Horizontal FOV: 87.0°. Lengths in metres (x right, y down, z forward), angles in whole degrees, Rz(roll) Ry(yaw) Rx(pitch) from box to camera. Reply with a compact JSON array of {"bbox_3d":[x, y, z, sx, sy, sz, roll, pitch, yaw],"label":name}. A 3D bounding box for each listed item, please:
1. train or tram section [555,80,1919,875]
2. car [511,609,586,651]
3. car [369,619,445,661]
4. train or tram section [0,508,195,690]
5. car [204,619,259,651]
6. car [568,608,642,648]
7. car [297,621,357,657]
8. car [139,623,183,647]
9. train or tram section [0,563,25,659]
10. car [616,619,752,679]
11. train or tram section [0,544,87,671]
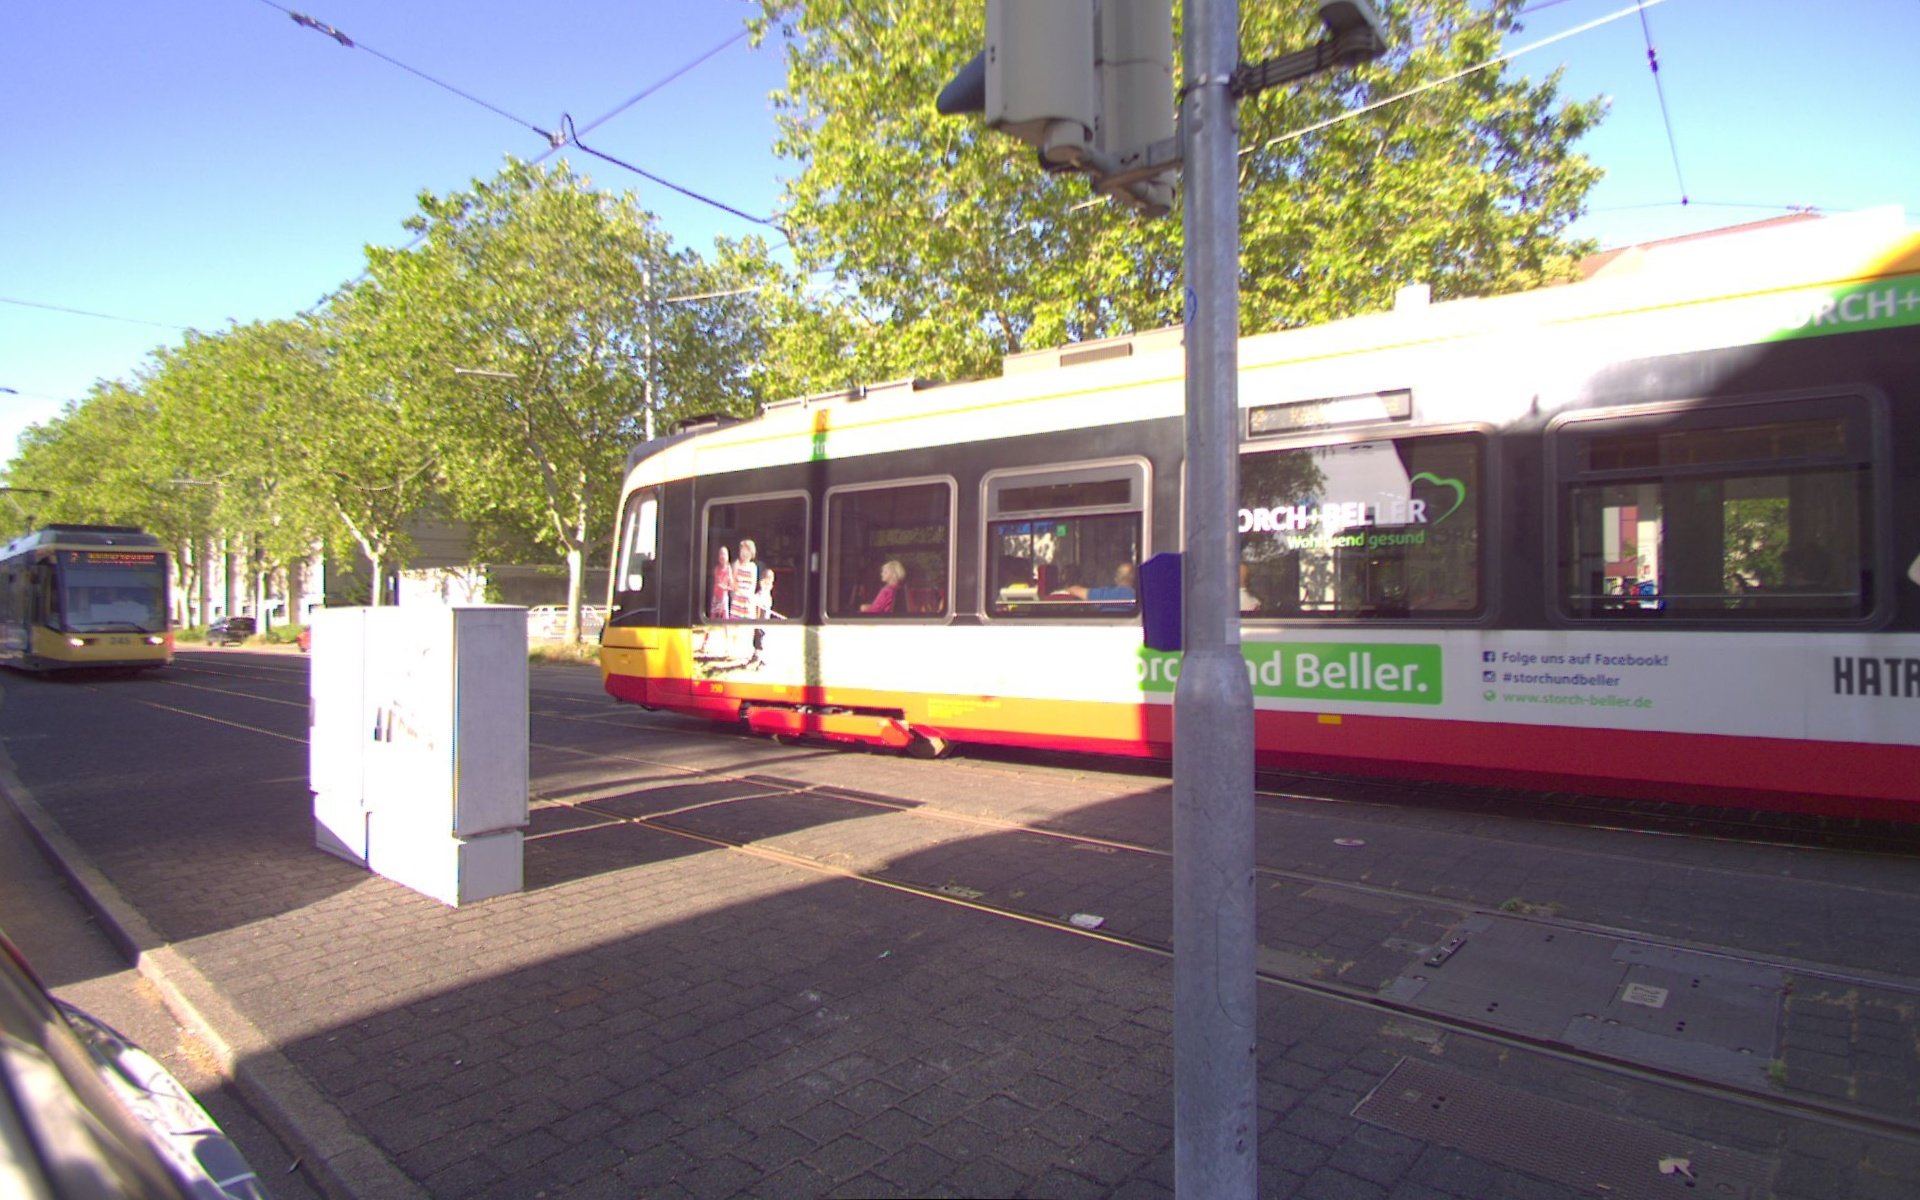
[{"bbox_3d":[1.461,-0.508,8.985,13.026,3.843,2.906,-1,-1,36],"label":"train or tram section"},{"bbox_3d":[-17.080,1.217,41.966,3.303,1.628,1.579,-1,0,41],"label":"car"},{"bbox_3d":[-21.872,1.546,39.998,3.303,1.519,1.579,-1,1,41],"label":"car"},{"bbox_3d":[-22.691,0.099,25.659,12.646,3.692,2.683,-1,-1,41],"label":"train or tram section"},{"bbox_3d":[-40.672,1.927,56.449,3.748,1.670,1.674,-1,1,41],"label":"car"},{"bbox_3d":[-15.261,1.181,43.443,3.303,1.604,1.579,-1,0,41],"label":"car"},{"bbox_3d":[-28.682,1.744,45.826,2.621,1.519,1.579,-1,1,41],"label":"car"},{"bbox_3d":[-53.857,2.329,68.174,3.748,1.459,1.674,-1,1,41],"label":"car"},{"bbox_3d":[-41.786,0.516,42.201,12.646,3.692,2.683,-1,-1,41],"label":"train or tram section"},{"bbox_3d":[-7.396,1.255,26.967,3.748,1.413,1.674,-1,1,41],"label":"car"},{"bbox_3d":[-32.237,0.316,33.911,12.646,3.692,2.683,-1,-1,41],"label":"train or tram section"}]
